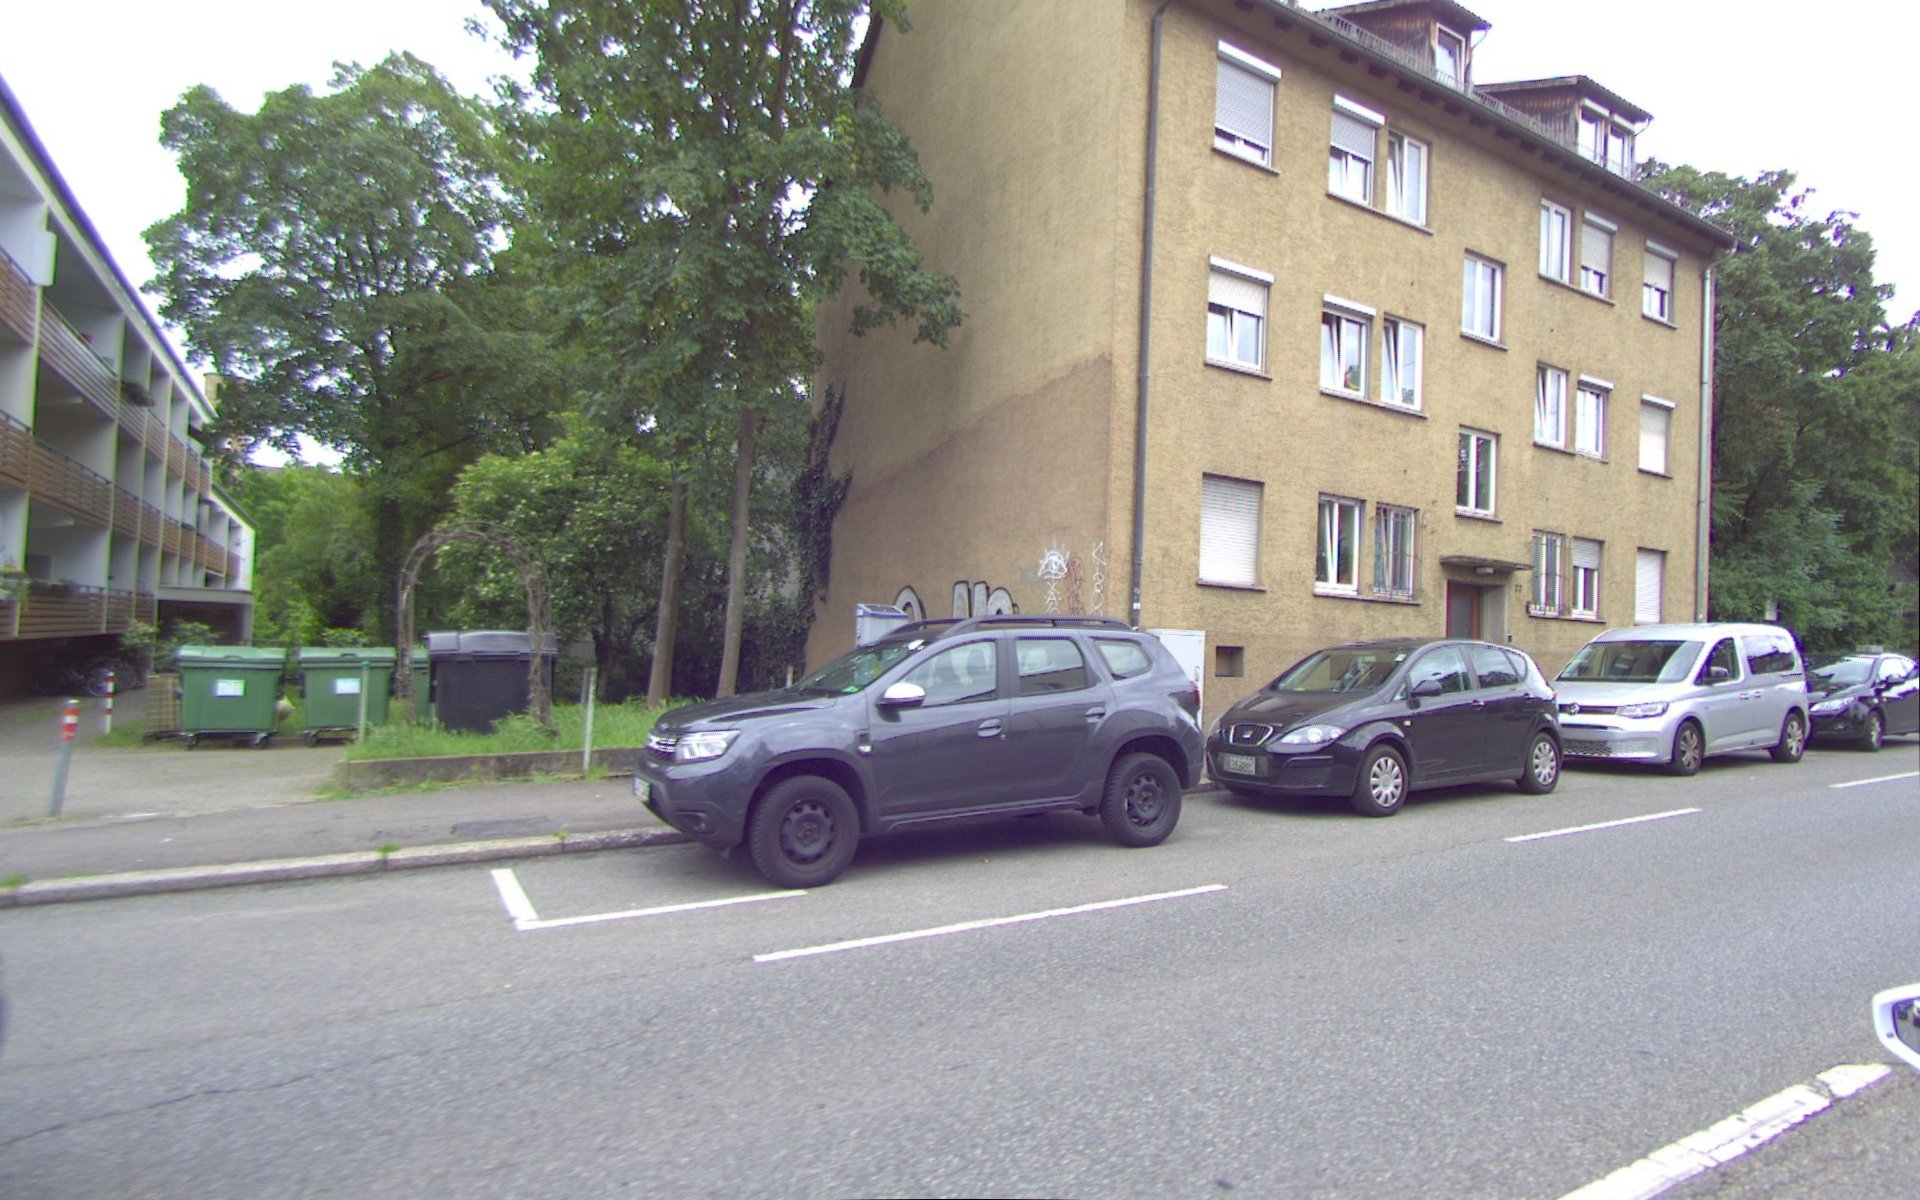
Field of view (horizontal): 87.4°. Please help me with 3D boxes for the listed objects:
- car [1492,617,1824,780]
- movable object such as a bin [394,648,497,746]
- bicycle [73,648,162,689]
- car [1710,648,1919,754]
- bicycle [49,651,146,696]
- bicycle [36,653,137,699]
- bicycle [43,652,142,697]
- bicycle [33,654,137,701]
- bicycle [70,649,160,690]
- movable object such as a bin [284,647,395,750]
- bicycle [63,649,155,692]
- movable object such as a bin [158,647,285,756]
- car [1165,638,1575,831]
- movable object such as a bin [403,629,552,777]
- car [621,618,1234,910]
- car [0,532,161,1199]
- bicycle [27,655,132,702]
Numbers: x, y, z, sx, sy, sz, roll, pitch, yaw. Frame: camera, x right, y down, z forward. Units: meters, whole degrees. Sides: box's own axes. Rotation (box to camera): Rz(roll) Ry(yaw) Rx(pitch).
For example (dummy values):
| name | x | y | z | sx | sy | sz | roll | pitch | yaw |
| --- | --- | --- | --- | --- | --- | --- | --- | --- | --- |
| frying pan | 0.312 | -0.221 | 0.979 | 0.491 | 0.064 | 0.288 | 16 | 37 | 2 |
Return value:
| name | x | y | z | sx | sy | sz | roll | pitch | yaw |
| --- | --- | --- | --- | --- | --- | --- | --- | --- | --- |
| car | 9.016 | 1.165 | 12.892 | 4.504 | 1.777 | 1.768 | 1 | -3 | -30 |
| movable object such as a bin | -8.209 | 1.506 | 16.024 | 1.382 | 1.447 | 0.905 | 1 | -1 | -32 |
| bicycle | -24.651 | 1.998 | 29.436 | 1.911 | 1.152 | 0.455 | 2 | -1 | -29 |
| car | 13.615 | 1.487 | 15.629 | 3.867 | 1.458 | 1.738 | 2 | -3 | -30 |
| bicycle | -23.354 | 1.979 | 27.228 | 1.911 | 1.152 | 0.455 | 2 | -1 | -29 |
| bicycle | -22.794 | 1.970 | 26.252 | 1.911 | 1.152 | 0.455 | 2 | -1 | -29 |
| bicycle | -23.080 | 1.975 | 26.767 | 1.911 | 1.152 | 0.455 | 2 | -1 | -29 |
| bicycle | -22.428 | 1.968 | 25.784 | 1.911 | 1.152 | 0.455 | 2 | -1 | -29 |
| bicycle | -24.359 | 1.994 | 28.984 | 1.911 | 1.152 | 0.455 | 2 | -1 | -29 |
| movable object such as a bin | -9.403 | 1.465 | 15.263 | 1.382 | 1.447 | 0.905 | 1 | -1 | -32 |
| bicycle | -24.130 | 1.990 | 28.530 | 1.911 | 1.152 | 0.455 | 2 | -1 | -29 |
| movable object such as a bin | -10.619 | 1.423 | 14.505 | 1.382 | 1.447 | 0.905 | 1 | -1 | -32 |
| car | 4.127 | 1.166 | 9.954 | 4.054 | 1.550 | 1.742 | 2 | -3 | -32 |
| movable object such as a bin | -5.210 | 1.047 | 10.826 | 1.266 | 1.447 | 1.273 | 1 | -1 | -34 |
| car | -0.173 | 1.012 | 7.456 | 4.212 | 1.630 | 1.776 | 1 | -4 | -29 |
| car | -3.764 | 0.650 | 1.197 | 4.115 | 1.611 | 1.832 | 2 | -2 | -30 |
| bicycle | -22.191 | 1.964 | 25.368 | 1.911 | 1.152 | 0.455 | 2 | -1 | -29 |
